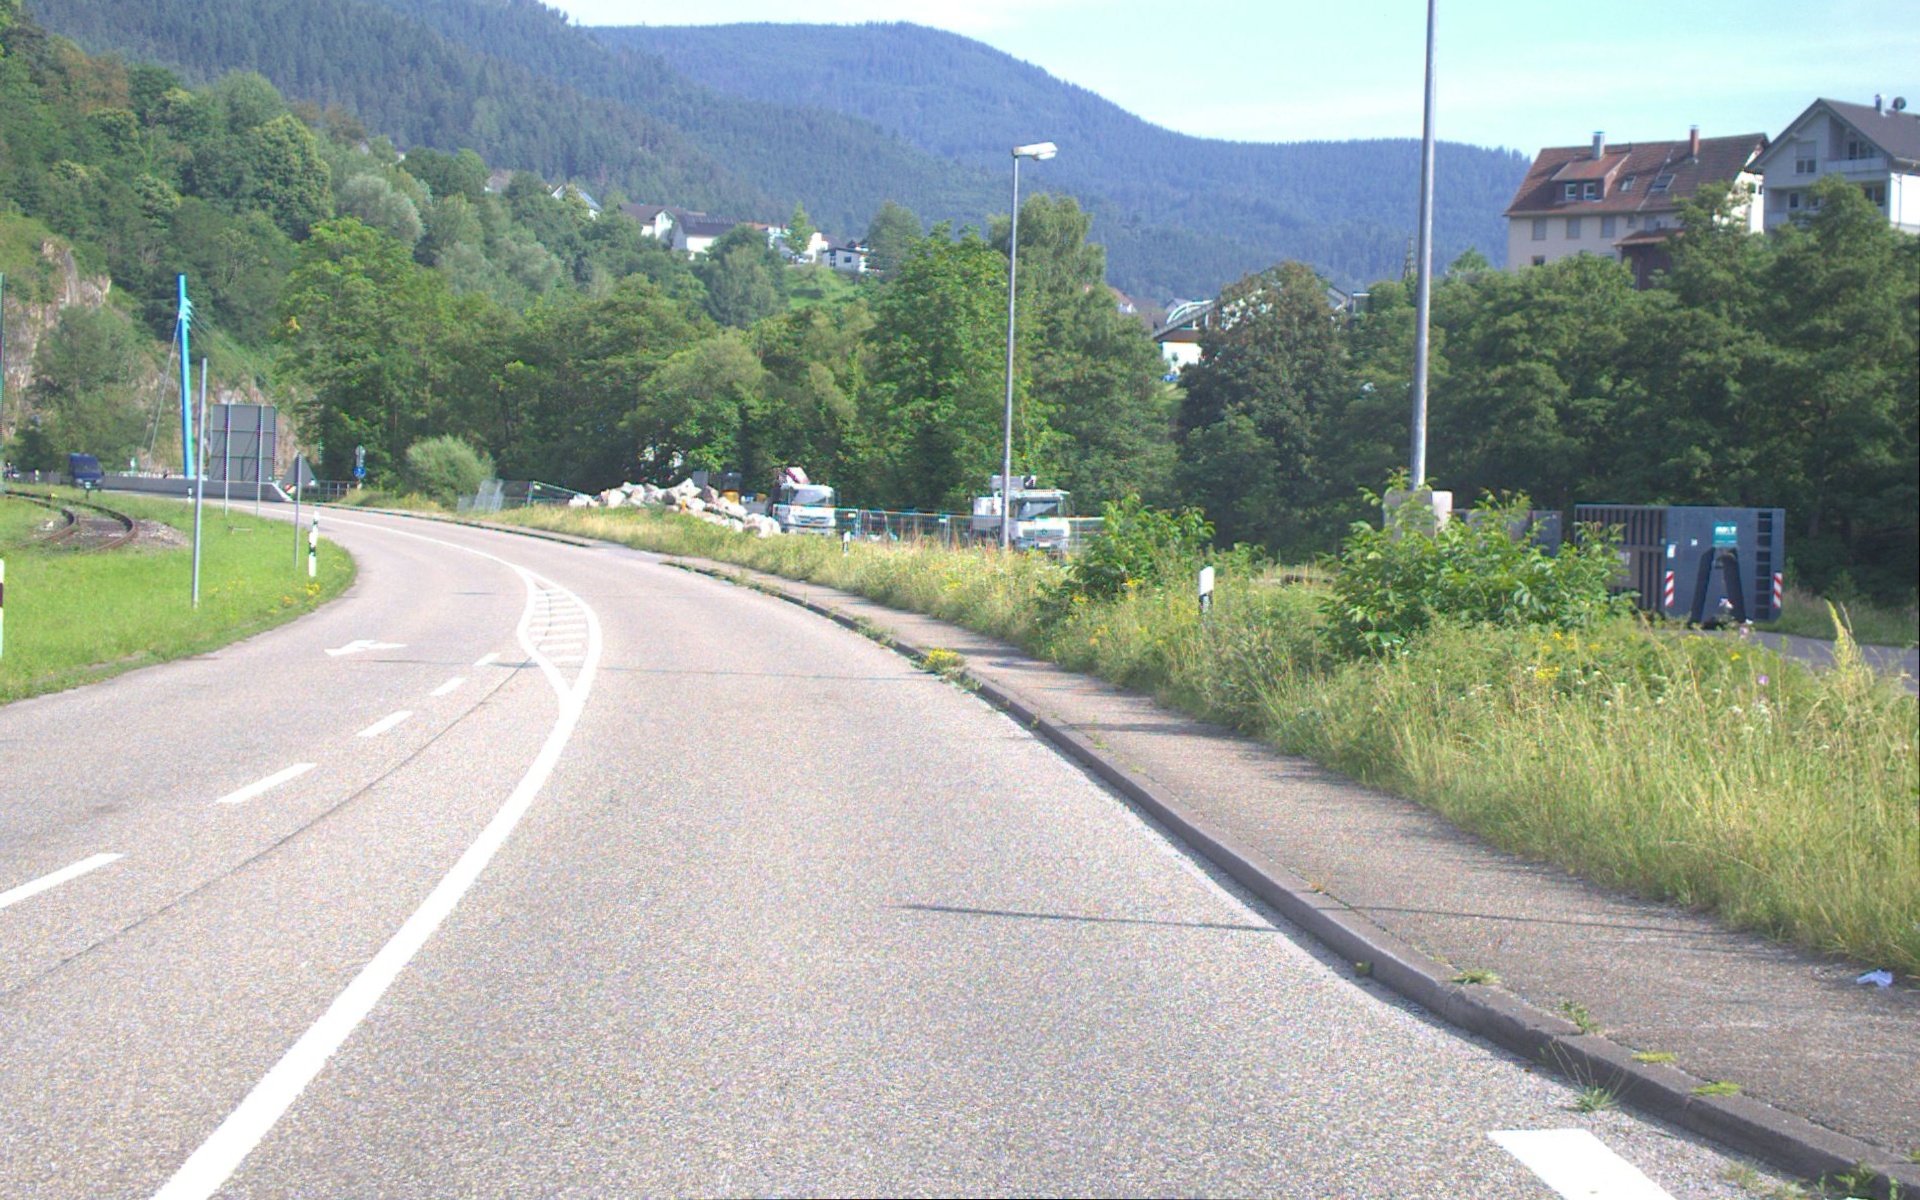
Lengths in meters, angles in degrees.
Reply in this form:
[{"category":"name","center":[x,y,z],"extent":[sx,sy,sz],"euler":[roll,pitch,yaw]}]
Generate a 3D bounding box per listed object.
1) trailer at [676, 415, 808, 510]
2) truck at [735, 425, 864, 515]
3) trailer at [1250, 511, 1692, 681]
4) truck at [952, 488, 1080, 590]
[{"category":"trailer","center":[-10.526,-6.584,164.543],"extent":[3.364,4.259,9.913],"euler":[2,2,-21]},{"category":"truck","center":[-7.351,-5.919,155.867],"extent":[3.102,3.769,8.648],"euler":[2,2,-21]},{"category":"trailer","center":[5.884,-0.161,41.679],"extent":[2.791,1.469,9.890],"euler":[4,2,-6]},{"category":"truck","center":[2.194,-2.539,139.550],"extent":[3.102,3.769,8.648],"euler":[3,2,-12]}]
